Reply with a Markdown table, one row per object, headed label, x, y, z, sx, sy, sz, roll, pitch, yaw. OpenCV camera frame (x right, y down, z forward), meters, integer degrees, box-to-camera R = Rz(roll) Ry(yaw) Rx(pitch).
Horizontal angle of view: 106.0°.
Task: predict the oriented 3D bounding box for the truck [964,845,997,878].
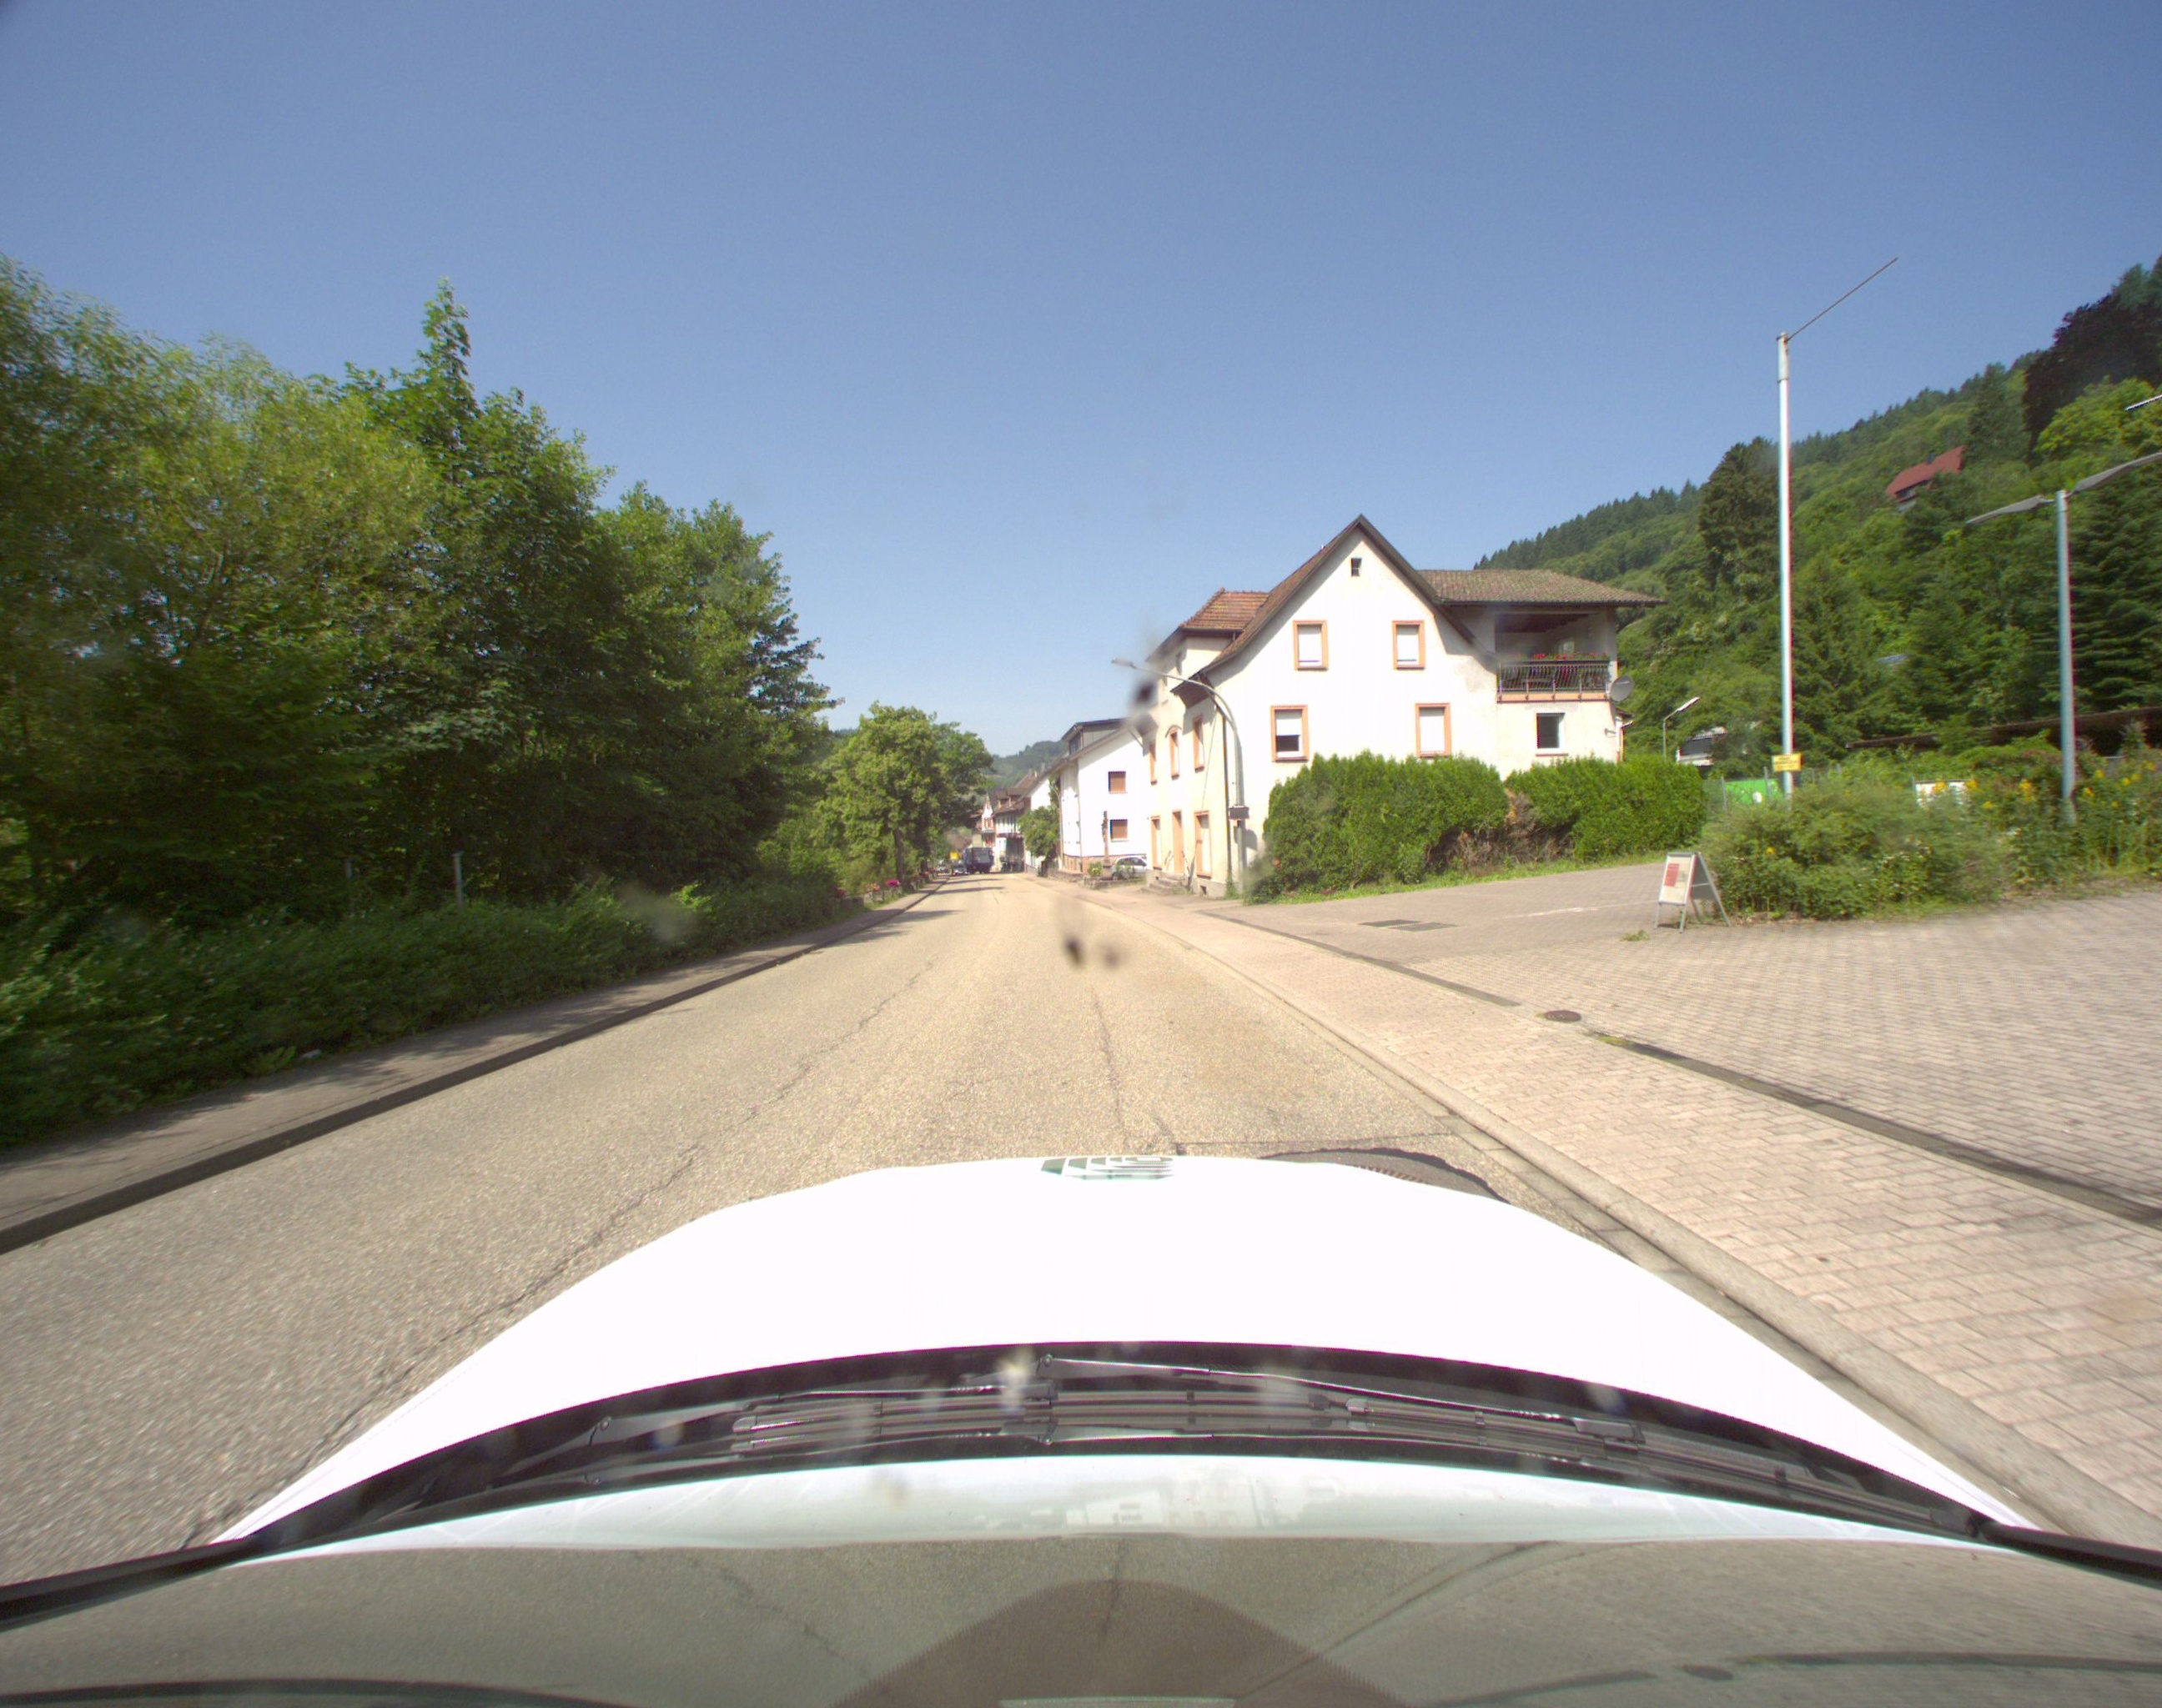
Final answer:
| label | x | y | z | sx | sy | sz | roll | pitch | yaw |
| --- | --- | --- | --- | --- | --- | --- | --- | --- | --- |
| truck | -13.358 | 1.086 | 107.563 | 3.365 | 3.782 | 8.406 | -6 | -1 | -11 |

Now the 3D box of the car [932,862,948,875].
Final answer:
| label | x | y | z | sx | sy | sz | roll | pitch | yaw |
| --- | --- | --- | --- | --- | --- | --- | --- | --- | --- |
| car | -23.082 | 2.412 | 133.373 | 1.779 | 1.734 | 3.974 | -6 | -2 | -18 |

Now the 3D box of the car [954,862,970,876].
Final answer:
| label | x | y | z | sx | sy | sz | roll | pitch | yaw |
| --- | --- | --- | --- | --- | --- | --- | --- | --- | --- |
| car | -13.833 | 1.768 | 94.977 | 1.665 | 1.418 | 4.076 | -4 | 0 | -7 |

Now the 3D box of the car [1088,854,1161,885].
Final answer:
| label | x | y | z | sx | sy | sz | roll | pitch | yaw |
| --- | --- | --- | --- | --- | --- | --- | --- | --- | --- |
| car | 2.425 | 0.886 | 45.507 | 3.727 | 1.427 | 1.620 | -5 | 0 | 37 |
